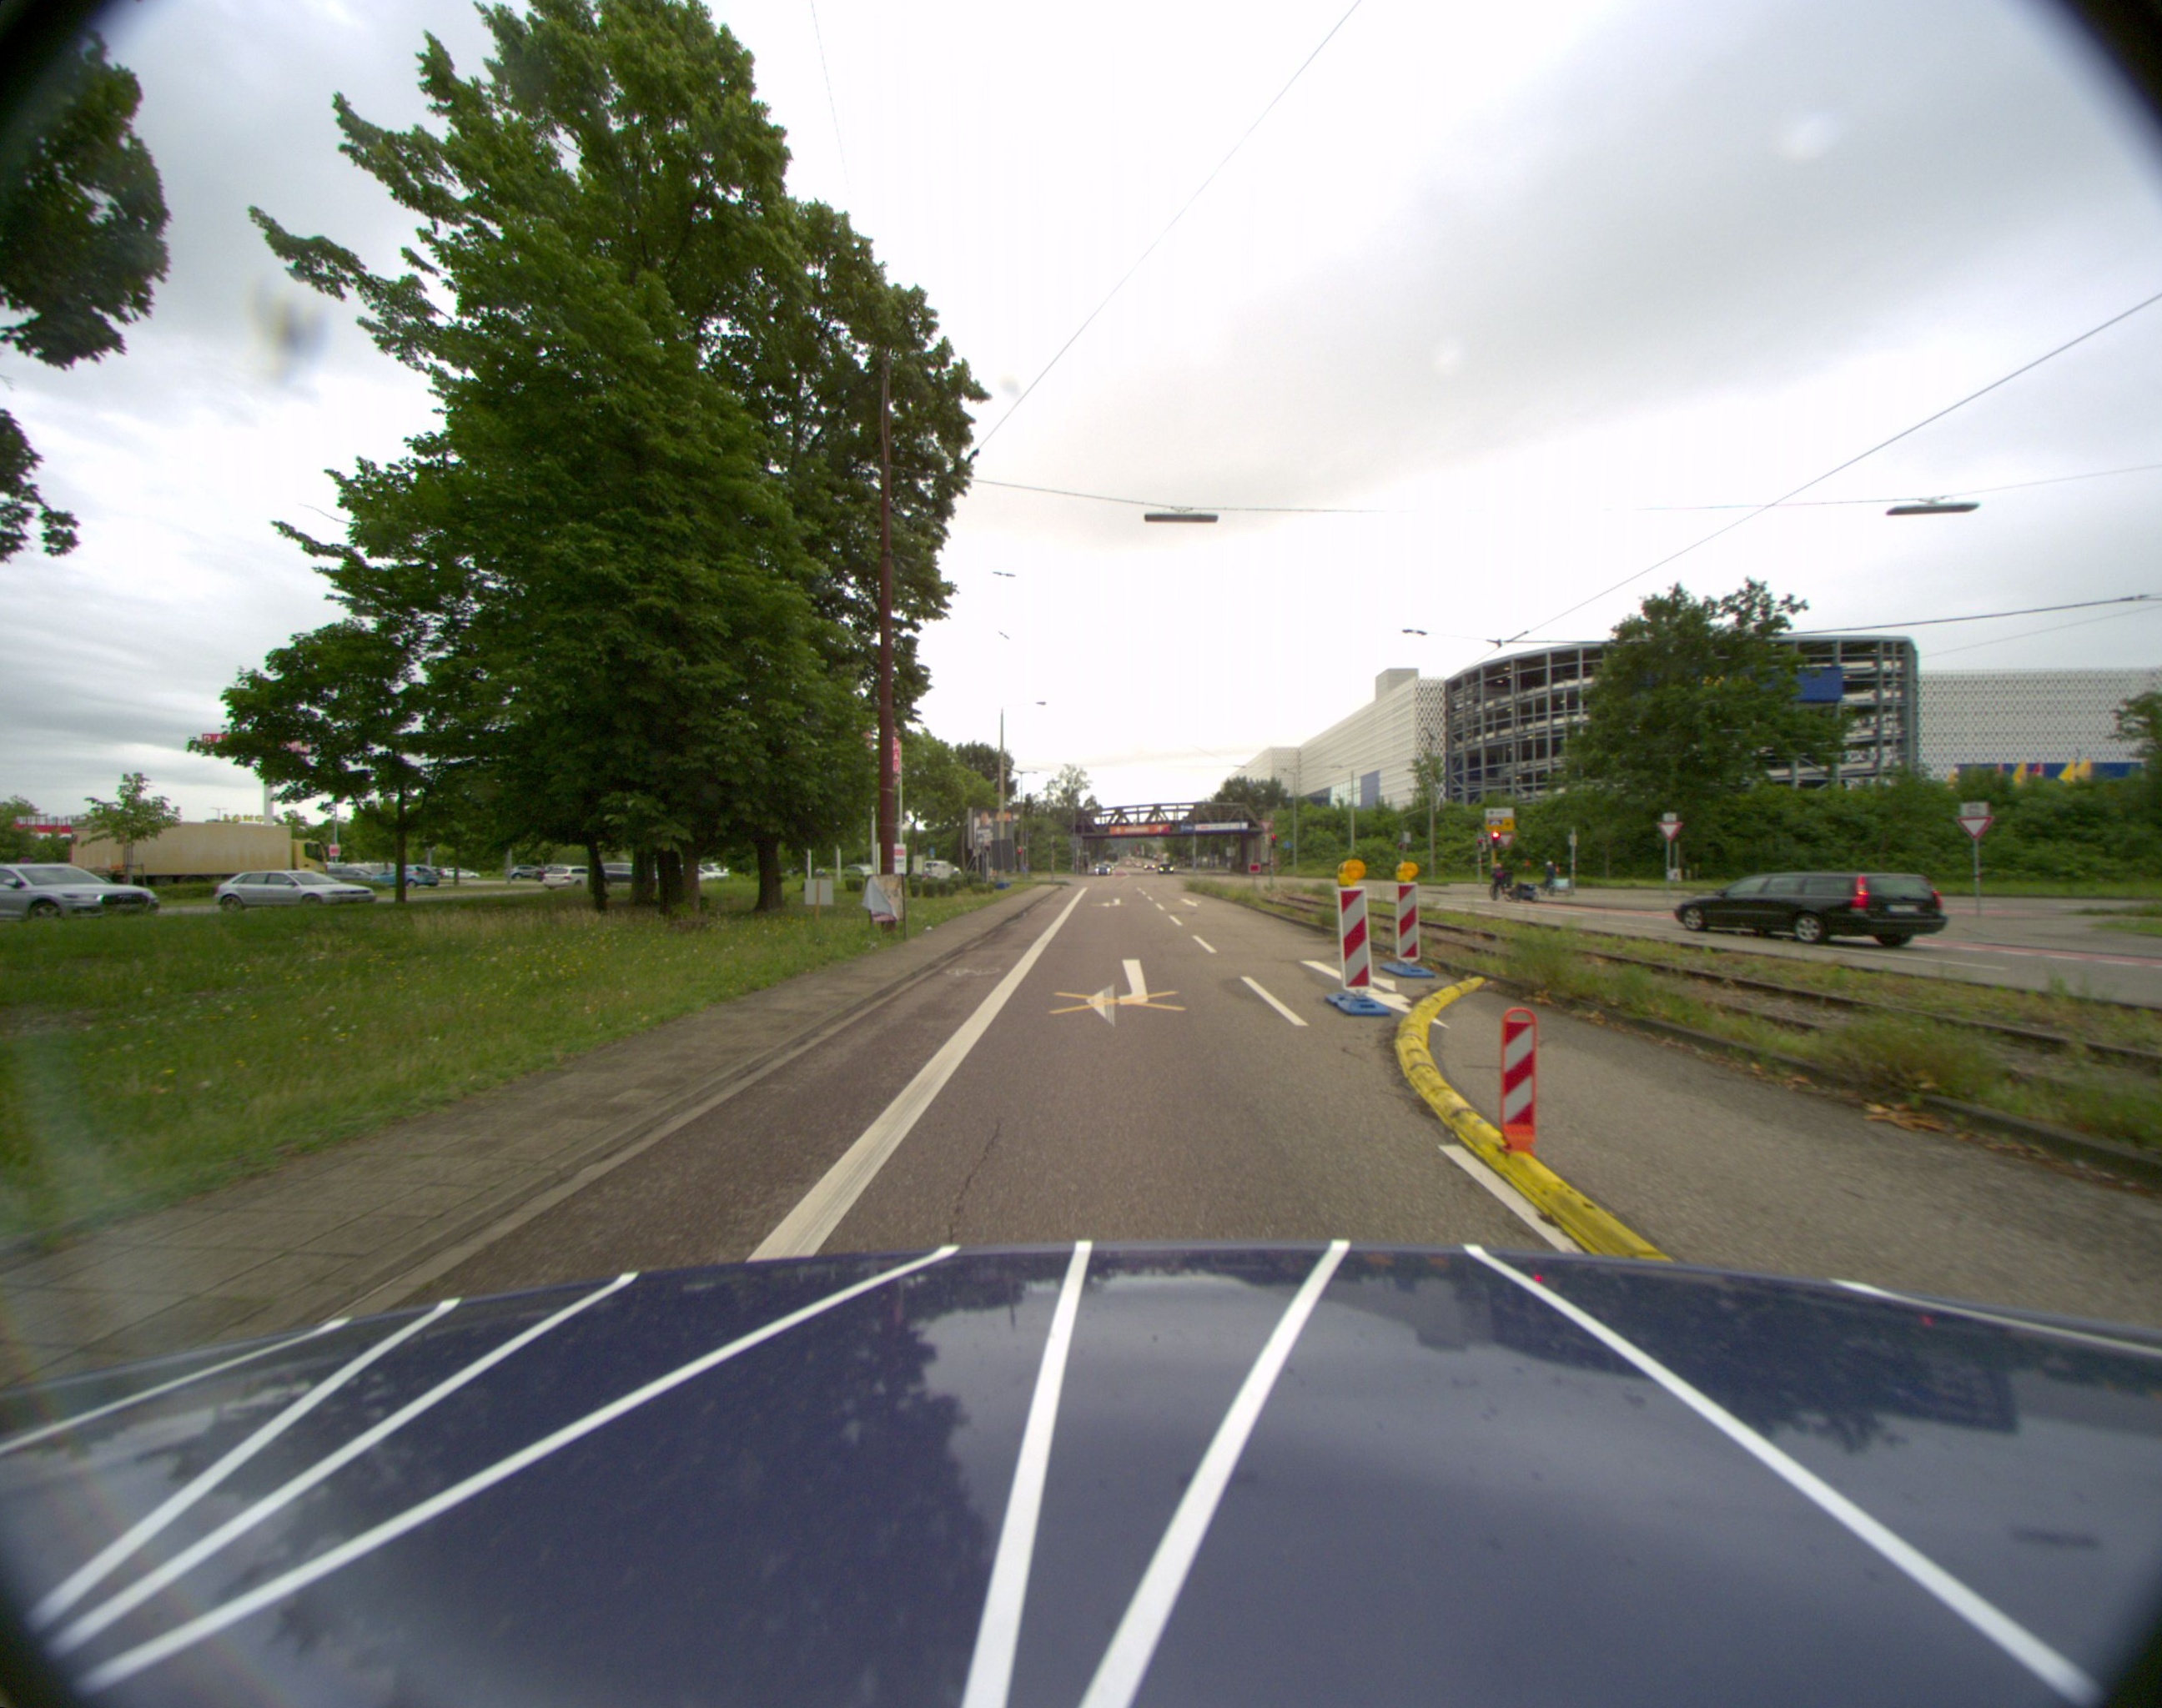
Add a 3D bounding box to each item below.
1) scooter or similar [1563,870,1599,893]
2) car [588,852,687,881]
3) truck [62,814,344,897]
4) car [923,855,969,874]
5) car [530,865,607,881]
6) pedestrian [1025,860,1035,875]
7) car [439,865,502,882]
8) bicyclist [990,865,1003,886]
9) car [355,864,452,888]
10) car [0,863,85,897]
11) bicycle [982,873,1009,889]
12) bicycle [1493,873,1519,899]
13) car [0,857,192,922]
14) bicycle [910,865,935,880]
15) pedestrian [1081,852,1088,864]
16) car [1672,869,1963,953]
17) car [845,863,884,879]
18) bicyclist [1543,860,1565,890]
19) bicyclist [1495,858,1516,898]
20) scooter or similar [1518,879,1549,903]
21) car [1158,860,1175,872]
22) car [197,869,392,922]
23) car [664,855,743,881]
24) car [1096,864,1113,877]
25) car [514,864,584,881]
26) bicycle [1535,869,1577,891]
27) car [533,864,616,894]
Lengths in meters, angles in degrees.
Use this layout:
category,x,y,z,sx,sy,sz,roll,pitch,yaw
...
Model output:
category,x,y,z,sx,sy,sz,roll,pitch,yaw
scooter or similar,24.265,1.319,36.921,0.647,1.056,1.449,-2,-1,-6
car,-26.052,0.729,44.724,4.611,1.488,1.931,-2,0,-2
truck,-42.926,0.048,37.883,2.946,3.543,9.250,-2,0,2
car,-13.332,1.031,74.796,4.408,1.818,1.884,0,2,35
car,-49.281,1.787,73.229,2.149,1.432,5.738,0,0,33
pedestrian,-5.734,1.525,85.905,0.776,1.630,0.746,0,0,43
car,-74.296,2.356,92.502,2.149,1.882,5.739,0,0,42
bicyclist,-6.128,1.568,55.051,0.758,1.511,0.583,0,0,19
car,-43.092,1.379,48.392,4.563,1.498,1.988,0,0,3
car,-54.835,1.290,38.905,4.566,1.667,2.154,0,0,-4
bicycle,-6.212,1.953,55.097,1.890,1.142,0.583,0,0,19
bicycle,18.162,1.352,32.525,0.646,1.056,2.027,-2,-1,21
car,-26.521,0.907,19.558,4.686,1.488,2.170,-2,0,1
bicycle,-11.962,1.424,57.422,1.811,1.111,0.487,0,0,-36
pedestrian,0.528,0.609,111.611,0.785,1.749,0.876,0,0,30
car,15.181,1.079,16.103,1.824,1.464,4.426,0,0,-1
car,-21.958,1.701,77.068,3.989,1.524,1.789,-2,0,38
bicyclist,24.114,1.050,38.729,0.647,1.509,0.626,-2,0,-6
bicyclist,18.143,1.030,32.513,0.646,1.673,0.687,-2,0,21
scooter or similar,18.213,1.470,30.605,0.845,0.902,1.200,-2,-1,21
car,10.902,1.505,97.537,1.836,1.415,4.001,-2,-1,2
car,-26.528,1.370,25.756,4.455,1.488,1.931,-2,0,-2
car,-25.247,0.925,50.908,4.232,1.488,1.931,-2,0,-1
car,2.910,2.102,96.312,1.788,1.637,3.999,0,0,-4
car,-56.598,1.901,81.006,2.149,1.667,5.738,0,0,33
bicycle,24.131,1.320,38.649,0.647,1.056,2.000,-2,-1,-6
car,-32.204,1.545,48.471,1.998,1.660,4.506,-2,0,4
